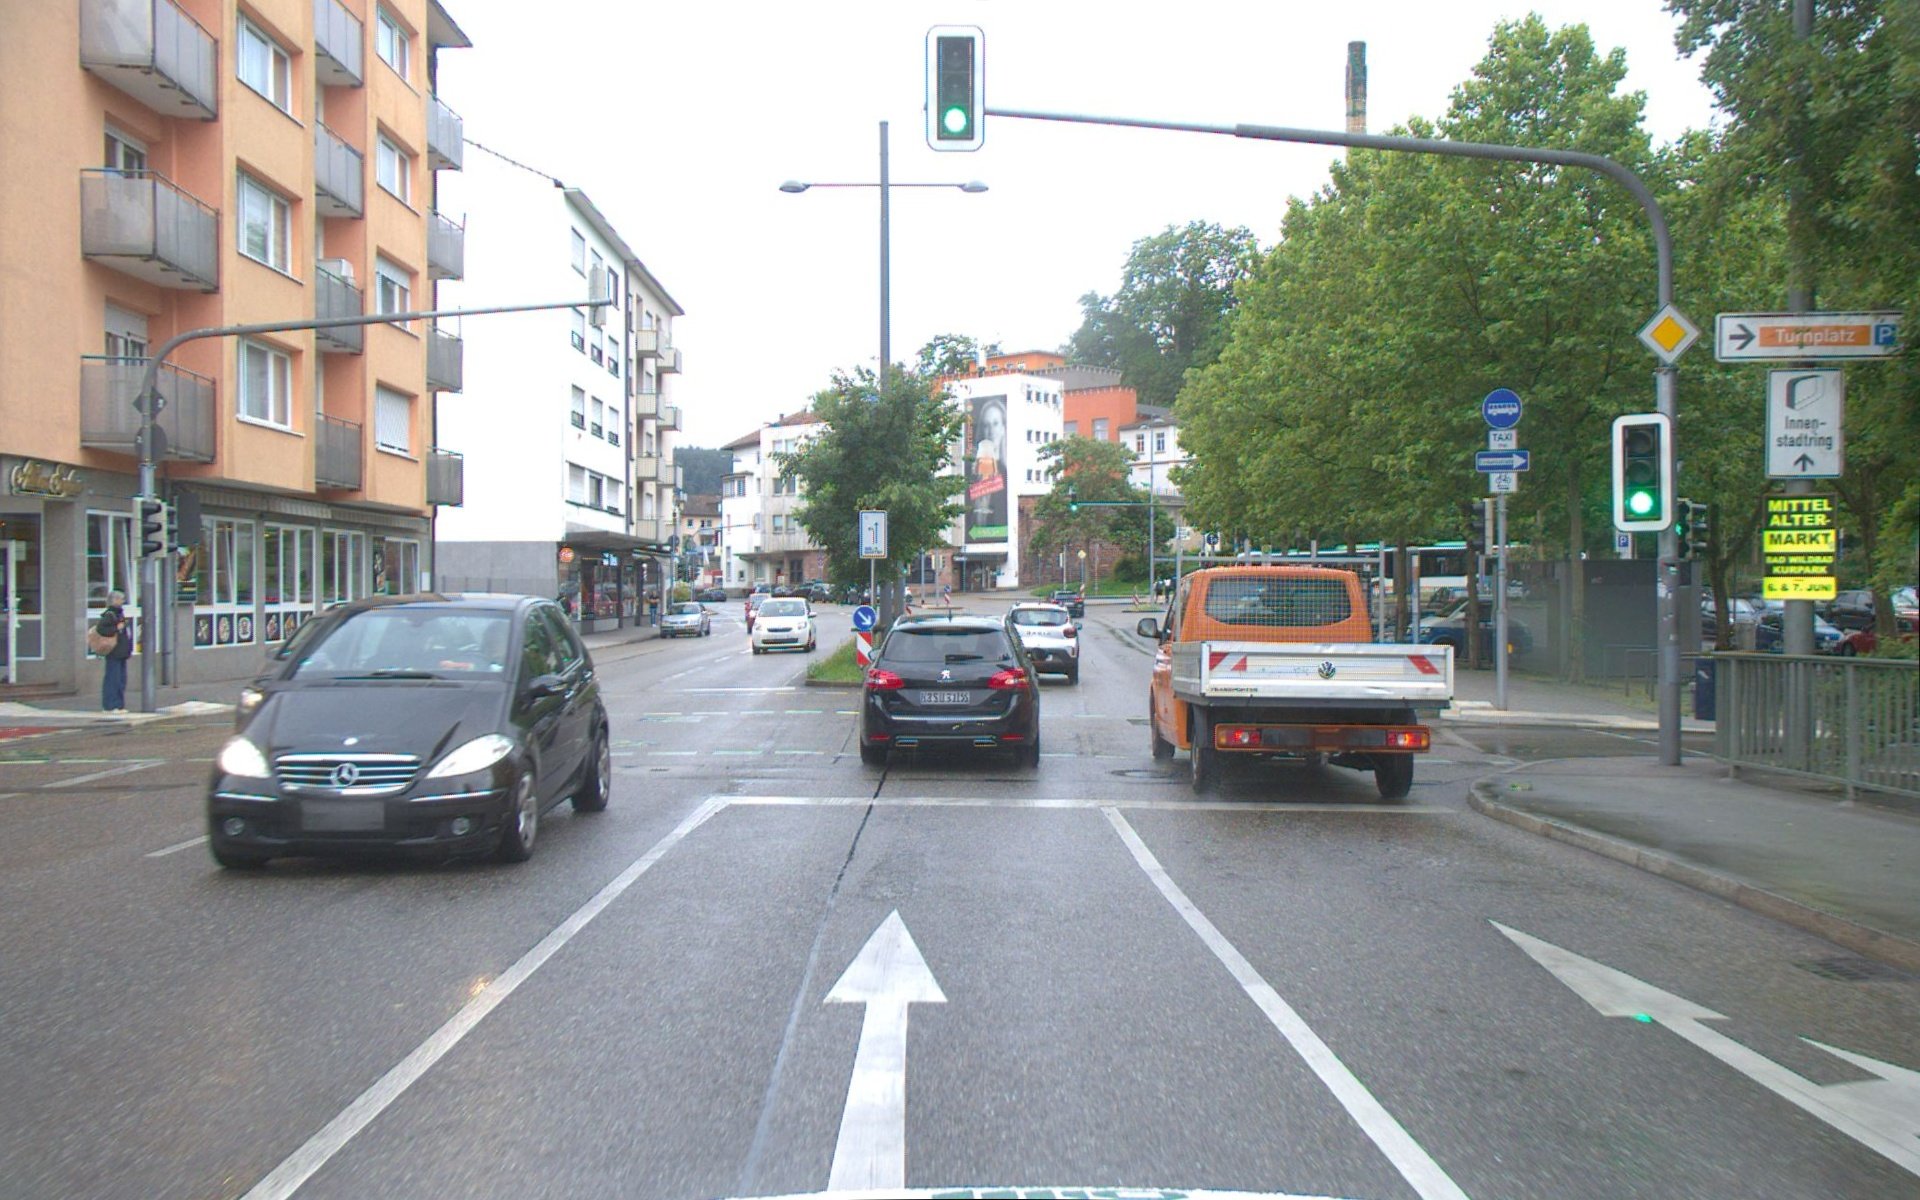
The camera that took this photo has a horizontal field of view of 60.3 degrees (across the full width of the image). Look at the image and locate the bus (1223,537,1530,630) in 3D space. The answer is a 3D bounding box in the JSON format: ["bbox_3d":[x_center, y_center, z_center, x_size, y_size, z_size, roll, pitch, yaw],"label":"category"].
[{"bbox_3d":[24.809,-0.994,99.183,17.547,5.302,3.099,1,0,1],"label":"bus"}]

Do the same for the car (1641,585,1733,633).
[{"bbox_3d":[29.255,0.380,66.669,1.865,1.767,3.723,3,-2,-4],"label":"car"}]

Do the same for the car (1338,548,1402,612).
[{"bbox_3d":[19.860,-0.964,80.306,2.030,3.022,4.227,1,0,0],"label":"car"}]

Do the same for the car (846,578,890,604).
[{"bbox_3d":[-6.193,-0.574,110.908,1.624,1.591,3.570,3,-2,-26],"label":"car"}]

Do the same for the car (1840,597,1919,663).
[{"bbox_3d":[25.664,0.778,44.651,1.564,1.680,3.633,-1,0,-7],"label":"car"}]

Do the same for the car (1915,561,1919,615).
[{"bbox_3d":[37.354,-0.436,60.847,1.953,2.049,4.062,0,0,-3],"label":"car"}]

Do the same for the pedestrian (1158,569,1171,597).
[{"bbox_3d":[12.381,-1.047,100.164,0.627,1.693,0.563,-1,2,-2],"label":"pedestrian"}]

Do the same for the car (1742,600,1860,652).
[{"bbox_3d":[25.393,0.757,50.090,1.635,1.458,4.001,0,0,2],"label":"car"}]

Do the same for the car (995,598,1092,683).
[{"bbox_3d":[1.578,0.740,32.239,1.757,1.509,4.001,0,0,2],"label":"car"}]

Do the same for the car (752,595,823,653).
[{"bbox_3d":[-4.812,0.645,46.422,1.620,1.475,3.543,-2,0,-1],"label":"car"}]

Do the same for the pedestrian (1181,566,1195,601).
[{"bbox_3d":[13.247,-0.952,96.123,0.703,2.027,0.563,-1,2,-3],"label":"pedestrian"}]

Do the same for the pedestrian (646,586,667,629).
[{"bbox_3d":[-14.612,0.350,79.598,0.720,2.049,0.650,4,-2,-35],"label":"pedestrian"}]

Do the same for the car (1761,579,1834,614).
[{"bbox_3d":[39.252,-0.180,77.600,1.597,1.595,3.608,0,1,0],"label":"car"}]

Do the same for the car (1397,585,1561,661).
[{"bbox_3d":[14.365,0.604,45.944,3.904,1.958,1.970,2,0,2],"label":"car"}]

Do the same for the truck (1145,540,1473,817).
[{"bbox_3d":[2.924,0.567,14.996,2.078,2.060,4.717,1,1,2],"label":"truck"}]

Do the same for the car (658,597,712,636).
[{"bbox_3d":[-11.414,0.681,68.889,1.741,1.552,3.660,0,1,-2],"label":"car"}]

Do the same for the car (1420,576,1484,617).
[{"bbox_3d":[23.697,-0.176,79.757,1.793,1.857,4.227,1,0,0],"label":"car"}]

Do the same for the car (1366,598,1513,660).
[{"bbox_3d":[14.599,0.872,50.501,3.904,1.678,1.918,3,1,2],"label":"car"}]

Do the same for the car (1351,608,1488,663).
[{"bbox_3d":[14.760,1.138,53.273,3.904,1.535,1.744,3,1,2],"label":"car"}]

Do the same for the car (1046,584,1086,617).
[{"bbox_3d":[5.675,0.052,89.042,1.612,1.591,3.596,3,-2,-4],"label":"car"}]

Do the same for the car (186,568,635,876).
[{"bbox_3d":[-3.373,0.636,10.967,1.701,1.629,3.918,-2,1,-1],"label":"car"}]

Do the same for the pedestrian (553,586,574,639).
[{"bbox_3d":[-14.283,0.457,59.648,0.626,1.893,0.523,1,0,-3],"label":"pedestrian"}]

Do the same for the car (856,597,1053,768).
[{"bbox_3d":[0.002,0.750,17.029,1.758,1.509,4.001,1,0,1],"label":"car"}]

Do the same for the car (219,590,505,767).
[{"bbox_3d":[-6.203,0.731,17.638,1.701,1.629,3.918,0,1,-2],"label":"car"}]

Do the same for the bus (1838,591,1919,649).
[{"bbox_3d":[34.543,0.765,61.286,1.952,1.982,4.000,3,-2,1],"label":"bus"}]

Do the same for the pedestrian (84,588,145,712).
[{"bbox_3d":[-12.200,0.710,23.887,0.519,1.757,0.649,0,0,2],"label":"pedestrian"}]

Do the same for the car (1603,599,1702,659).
[{"bbox_3d":[25.434,1.084,60.839,1.865,2.049,3.723,3,-2,-4],"label":"car"}]

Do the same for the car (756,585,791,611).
[{"bbox_3d":[-10.542,-0.101,93.491,1.656,1.426,3.660,0,1,-2],"label":"car"}]

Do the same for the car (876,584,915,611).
[{"bbox_3d":[-4.745,-0.205,121.334,1.961,1.853,3.983,1,1,-16],"label":"car"}]

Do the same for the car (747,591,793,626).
[{"bbox_3d":[-8.223,0.348,71.757,1.631,1.424,3.875,-1,1,-2],"label":"car"}]
